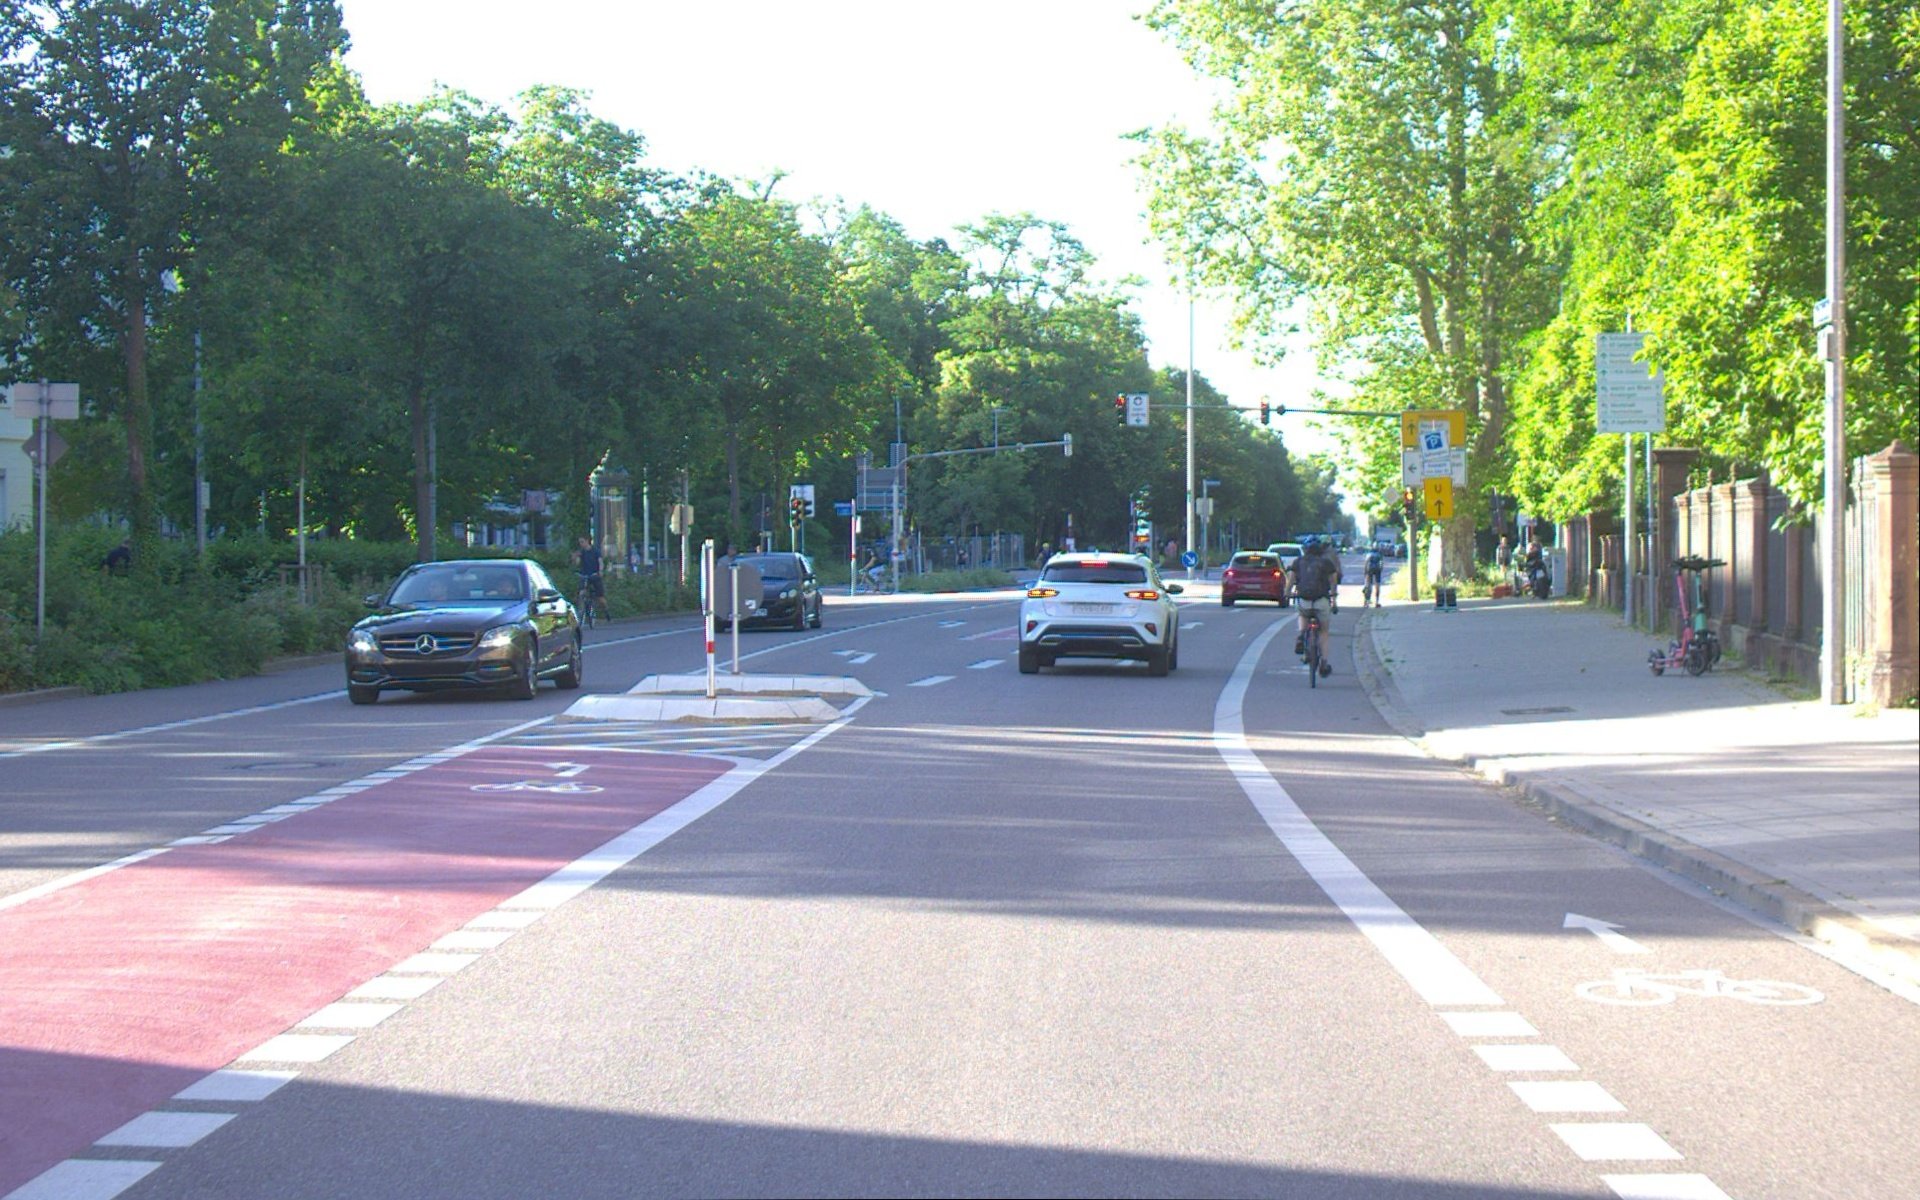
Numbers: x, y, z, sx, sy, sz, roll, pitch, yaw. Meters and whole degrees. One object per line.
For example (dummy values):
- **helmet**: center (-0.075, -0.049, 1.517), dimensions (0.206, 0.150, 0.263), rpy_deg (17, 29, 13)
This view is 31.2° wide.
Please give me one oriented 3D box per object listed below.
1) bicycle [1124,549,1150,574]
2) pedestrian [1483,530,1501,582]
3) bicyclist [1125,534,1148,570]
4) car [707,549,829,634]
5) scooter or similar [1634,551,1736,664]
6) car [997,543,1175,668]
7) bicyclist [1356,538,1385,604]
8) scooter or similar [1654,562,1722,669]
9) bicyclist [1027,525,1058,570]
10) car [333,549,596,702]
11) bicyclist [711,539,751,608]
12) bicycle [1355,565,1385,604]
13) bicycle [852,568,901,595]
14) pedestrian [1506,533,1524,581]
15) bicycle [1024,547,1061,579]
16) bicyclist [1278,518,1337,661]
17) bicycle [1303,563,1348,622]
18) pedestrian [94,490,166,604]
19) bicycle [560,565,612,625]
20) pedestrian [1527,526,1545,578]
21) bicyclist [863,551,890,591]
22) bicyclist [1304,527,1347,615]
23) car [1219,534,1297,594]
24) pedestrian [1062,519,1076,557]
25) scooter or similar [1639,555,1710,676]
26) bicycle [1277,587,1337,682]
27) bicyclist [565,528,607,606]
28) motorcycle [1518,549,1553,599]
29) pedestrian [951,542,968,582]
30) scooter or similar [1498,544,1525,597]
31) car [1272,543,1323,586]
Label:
- **bicycle**: center (8.543, -1.866, 166.046), dimensions (0.964, 1.177, 2.950), rpy_deg (-1, 1, 9)
- **pedestrian**: center (18.843, -1.572, 121.810), dimensions (0.482, 1.786, 0.431), rpy_deg (-3, 4, 13)
- **bicyclist**: center (8.544, -2.328, 166.105), dimensions (0.956, 1.699, 1.232), rpy_deg (-1, 1, 8)
- **car**: center (-3.467, -0.176, 62.580), dimensions (1.758, 1.454, 4.000), rpy_deg (-1, 1, 3)
- **scooter or similar**: center (8.161, 0.070, 38.743), dimensions (0.547, 1.238, 1.558), rpy_deg (-1, 1, -11)
- **car**: center (1.623, 0.032, 42.900), dimensions (1.994, 1.448, 3.999), rpy_deg (-1, 1, 5)
- **bicyclist**: center (11.038, -0.782, 92.470), dimensions (0.750, 1.744, 0.843), rpy_deg (1, 1, 6)
- **scooter or similar**: center (7.798, 0.157, 36.865), dimensions (0.480, 1.118, 1.336), rpy_deg (-1, 1, 2)
- **bicyclist**: center (3.339, -2.116, 138.533), dimensions (1.093, 1.748, 1.097), rpy_deg (-1, 1, 9)
- **car**: center (-4.968, 0.212, 35.061), dimensions (1.812, 1.415, 4.554), rpy_deg (-1, 1, 3)
- **bicyclist**: center (-4.878, -0.574, 73.344), dimensions (0.646, 1.414, 0.971), rpy_deg (-3, 1, 4)
- **bicycle**: center (11.030, -0.411, 92.521), dimensions (0.753, 1.022, 1.869), rpy_deg (1, 0, 7)
- **bicycle**: center (-3.150, -0.713, 129.876), dimensions (1.767, 0.986, 0.512), rpy_deg (0, 1, 14)
- **pedestrian**: center (19.673, -1.536, 121.828), dimensions (0.482, 1.634, 0.431), rpy_deg (-4, 4, 13)
- **bicycle**: center (3.332, -1.497, 138.425), dimensions (1.102, 1.250, 2.778), rpy_deg (-1, 1, 9)
- **bicyclist**: center (3.975, -0.130, 39.290), dimensions (0.636, 1.609, 1.283), rpy_deg (1, 1, 7)
- **bicycle**: center (6.418, -0.133, 60.356), dimensions (0.753, 1.022, 1.869), rpy_deg (1, 0, 7)
- **pedestrian**: center (-13.717, -0.875, 56.840), dimensions (0.856, 1.845, 1.001), rpy_deg (-1, 1, 5)
- **bicycle**: center (-7.422, -0.100, 68.319), dimensions (0.597, 1.117, 2.027), rpy_deg (-4, 1, 4)
- **pedestrian**: center (20.521, -1.714, 122.514), dimensions (0.482, 1.786, 0.431), rpy_deg (-3, 4, 13)
- **bicyclist**: center (-3.150, -1.085, 129.874), dimensions (0.922, 1.503, 0.506), rpy_deg (0, 1, 14)
- **bicyclist**: center (6.424, -0.516, 60.363), dimensions (0.747, 1.532, 0.969), rpy_deg (0, 1, 7)
- **car**: center (7.920, -0.967, 91.065), dimensions (1.929, 1.528, 3.999), rpy_deg (-1, 1, 7)
- **pedestrian**: center (5.787, -3.314, 182.929), dimensions (0.656, 2.007, 0.832), rpy_deg (-1, 1, 5)
- **scooter or similar**: center (7.451, 0.152, 35.865), dimensions (0.296, 1.235, 1.161), rpy_deg (-1, 1, -10)
- **bicycle**: center (3.974, 0.380, 39.333), dimensions (0.643, 1.021, 2.212), rpy_deg (1, 1, 6)
- **bicyclist**: center (-7.440, -0.660, 68.380), dimensions (0.629, 1.517, 0.724), rpy_deg (-3, 1, 4)
- **motorcycle**: center (14.120, -0.640, 84.384), dimensions (0.662, 1.163, 2.327), rpy_deg (-3, 1, 7)
- **pedestrian**: center (-0.010, -1.812, 162.681), dimensions (0.651, 1.881, 0.662), rpy_deg (-1, 1, 9)
- **scooter or similar**: center (14.629, -0.793, 91.147), dimensions (0.566, 1.378, 1.856), rpy_deg (-1, 1, 5)
- **car**: center (12.584, -1.345, 128.120), dimensions (1.737, 1.541, 3.999), rpy_deg (-1, 1, 8)
